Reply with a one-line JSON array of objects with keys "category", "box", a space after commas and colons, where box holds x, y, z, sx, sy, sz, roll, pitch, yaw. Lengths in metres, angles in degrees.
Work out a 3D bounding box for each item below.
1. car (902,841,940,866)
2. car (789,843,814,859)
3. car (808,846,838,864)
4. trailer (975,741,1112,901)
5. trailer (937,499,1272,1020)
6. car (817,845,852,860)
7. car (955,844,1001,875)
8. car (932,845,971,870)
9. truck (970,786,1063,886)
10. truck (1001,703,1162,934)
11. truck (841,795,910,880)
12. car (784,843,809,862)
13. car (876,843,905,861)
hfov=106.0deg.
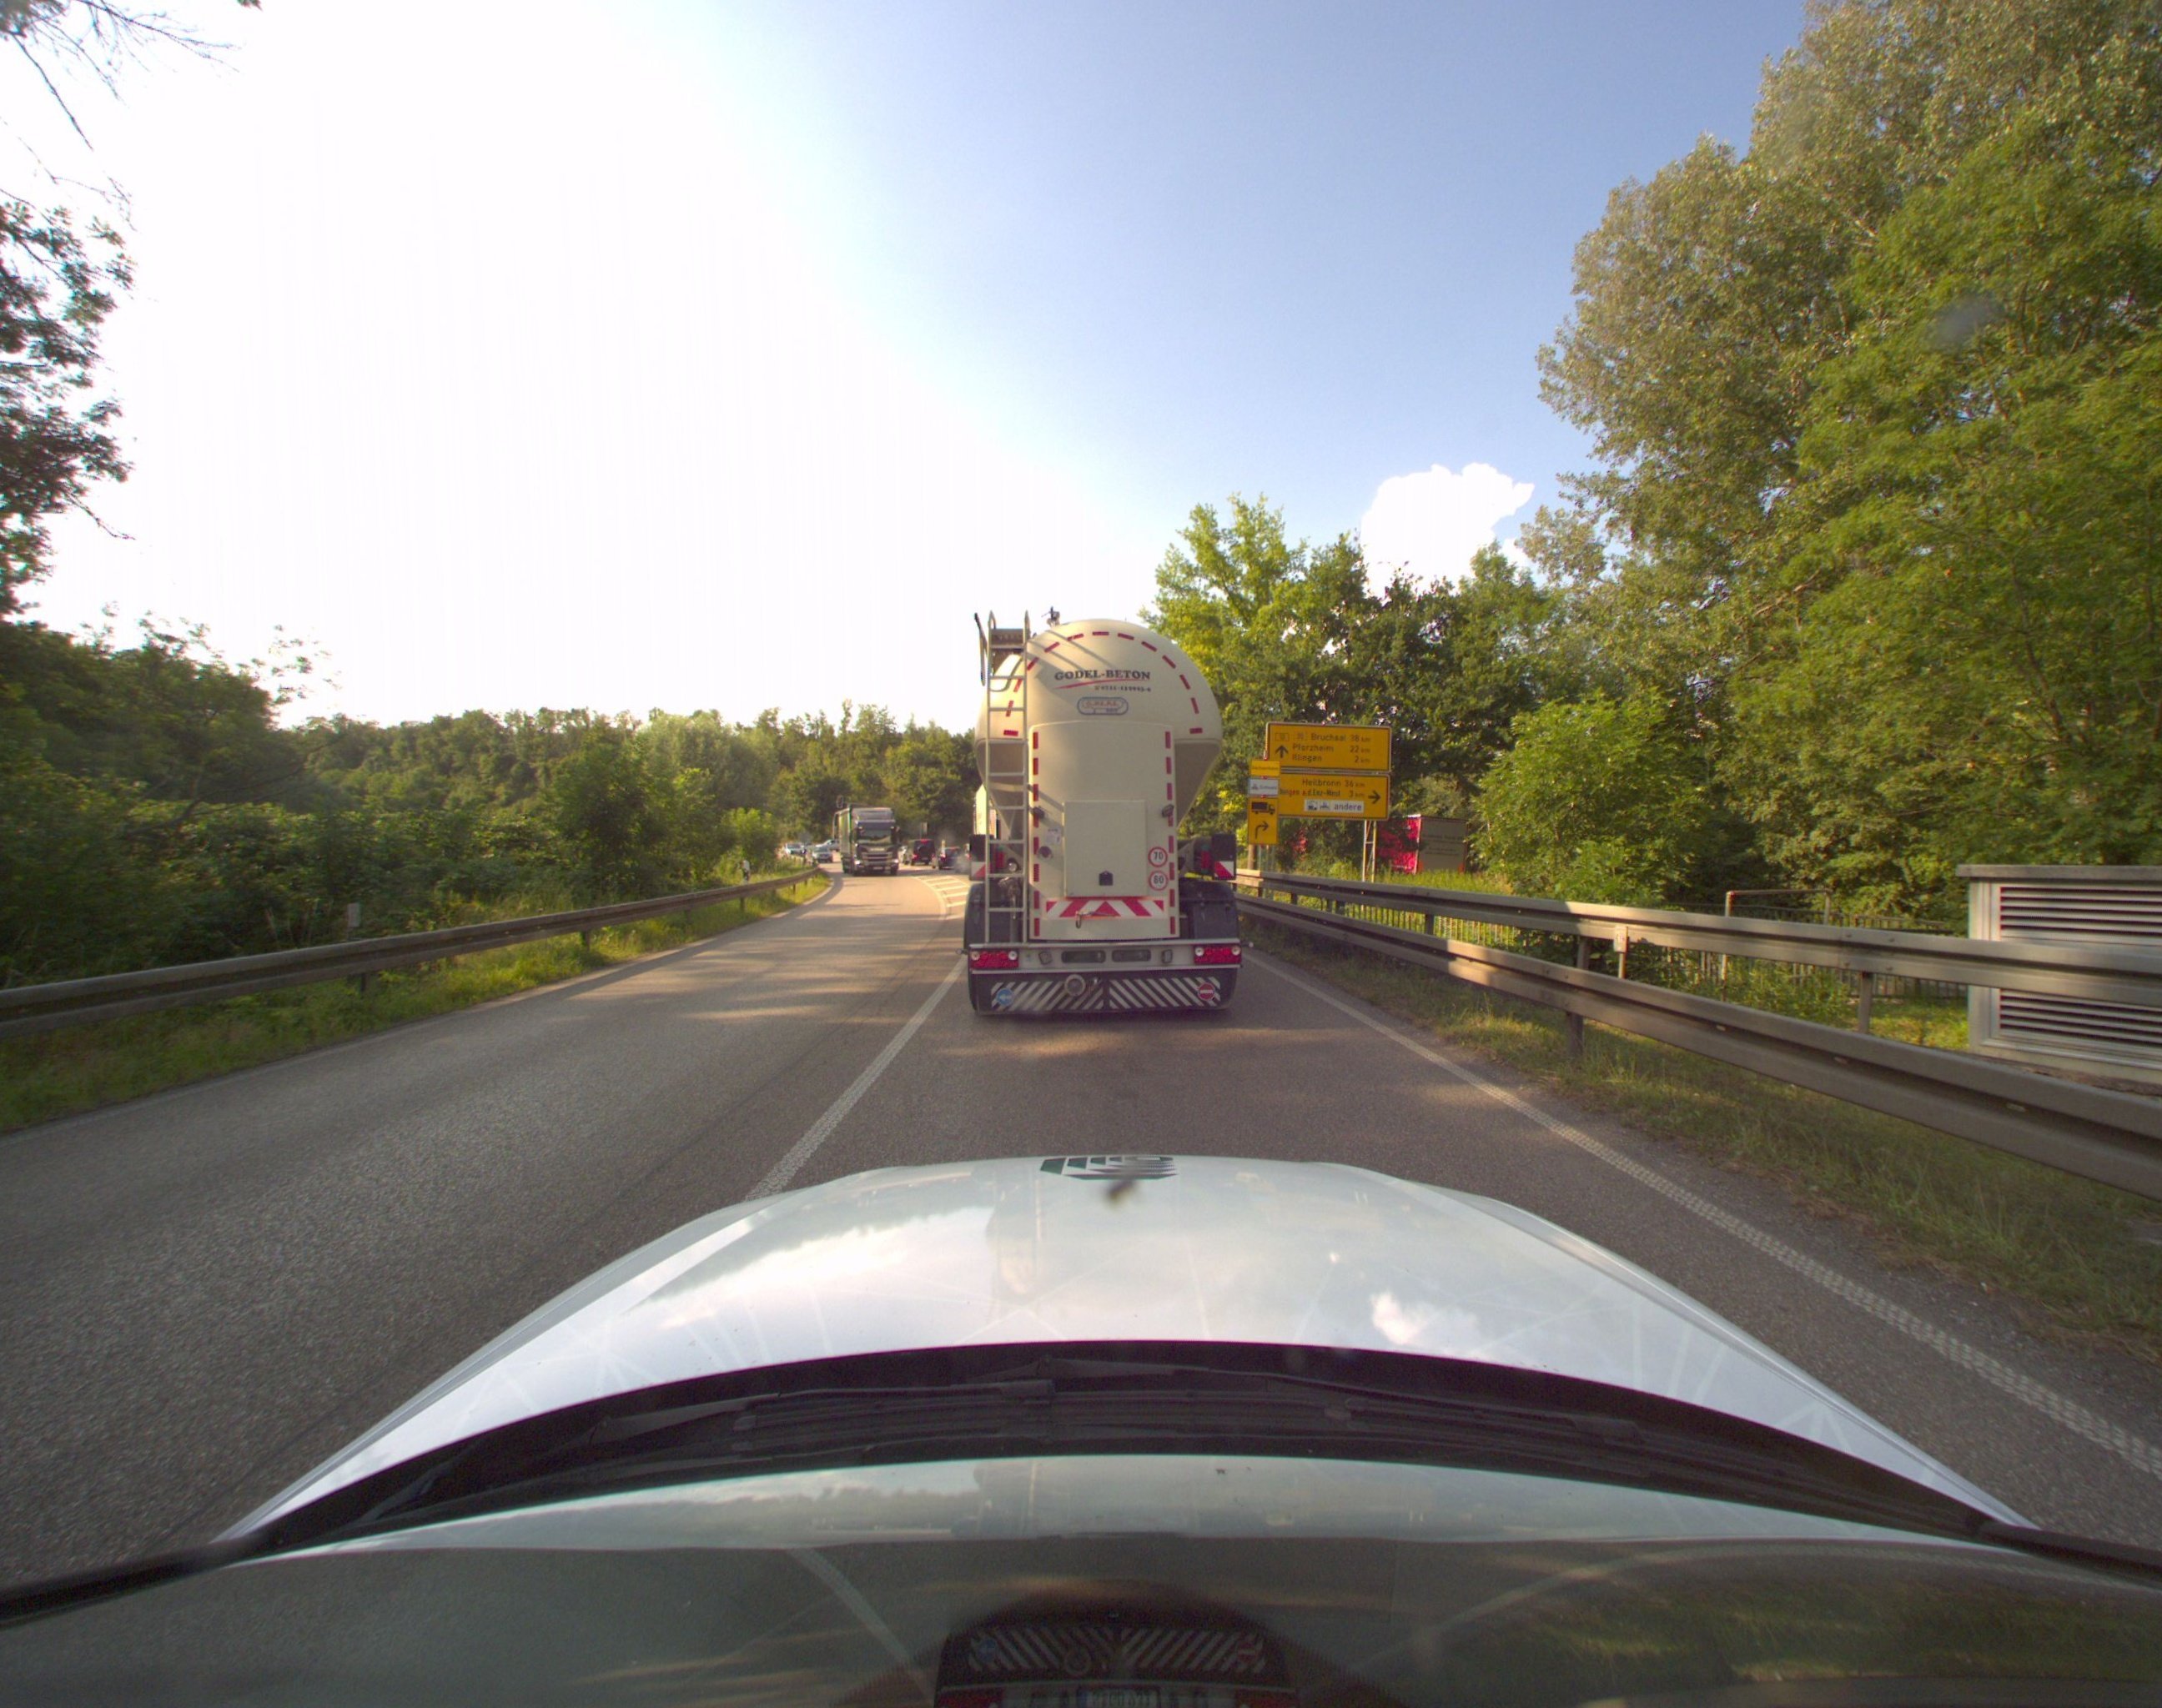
[{"category": "car", "box": [-12.400, -0.084, 62.985, 1.966, 1.851, 3.968, -2, 1, -24]}, {"category": "car", "box": [-33.922, -0.399, 98.968, 1.865, 1.851, 3.992, 2, 0, -6]}, {"category": "car", "box": [-22.823, 0.079, 71.872, 1.877, 1.556, 3.965, 1, 0, -27]}, {"category": "trailer", "box": [-1.875, -0.903, 29.702, 3.545, 4.513, 12.943, 1, 0, -9]}, {"category": "trailer", "box": [0.036, -0.814, 11.824, 2.879, 4.454, 9.597, 0, 0, -2]}, {"category": "car", "box": [-32.332, -0.200, 106.968, 4.021, 1.851, 1.851, 1, 0, -42]}, {"category": "car", "box": [-5.915, 0.269, 46.267, 1.873, 1.628, 3.976, -2, 1, -18]}, {"category": "car", "box": [-8.657, 0.210, 54.174, 1.873, 1.564, 3.974, -2, 1, -19]}, {"category": "truck", "box": [-3.086, -0.719, 36.864, 3.452, 4.086, 6.465, 1, 0, -12]}, {"category": "truck", "box": [-0.215, -0.629, 17.325, 2.819, 4.035, 5.884, 0, 0, -5]}, {"category": "truck", "box": [-12.651, -0.878, 49.438, 3.023, 4.585, 10.170, 0, 0, -20]}, {"category": "car", "box": [-28.708, -0.136, 82.197, 1.877, 1.851, 3.966, 1, 0, -27]}, {"category": "car", "box": [-17.811, -0.189, 76.062, 1.876, 1.595, 3.968, 2, 0, -25]}]
